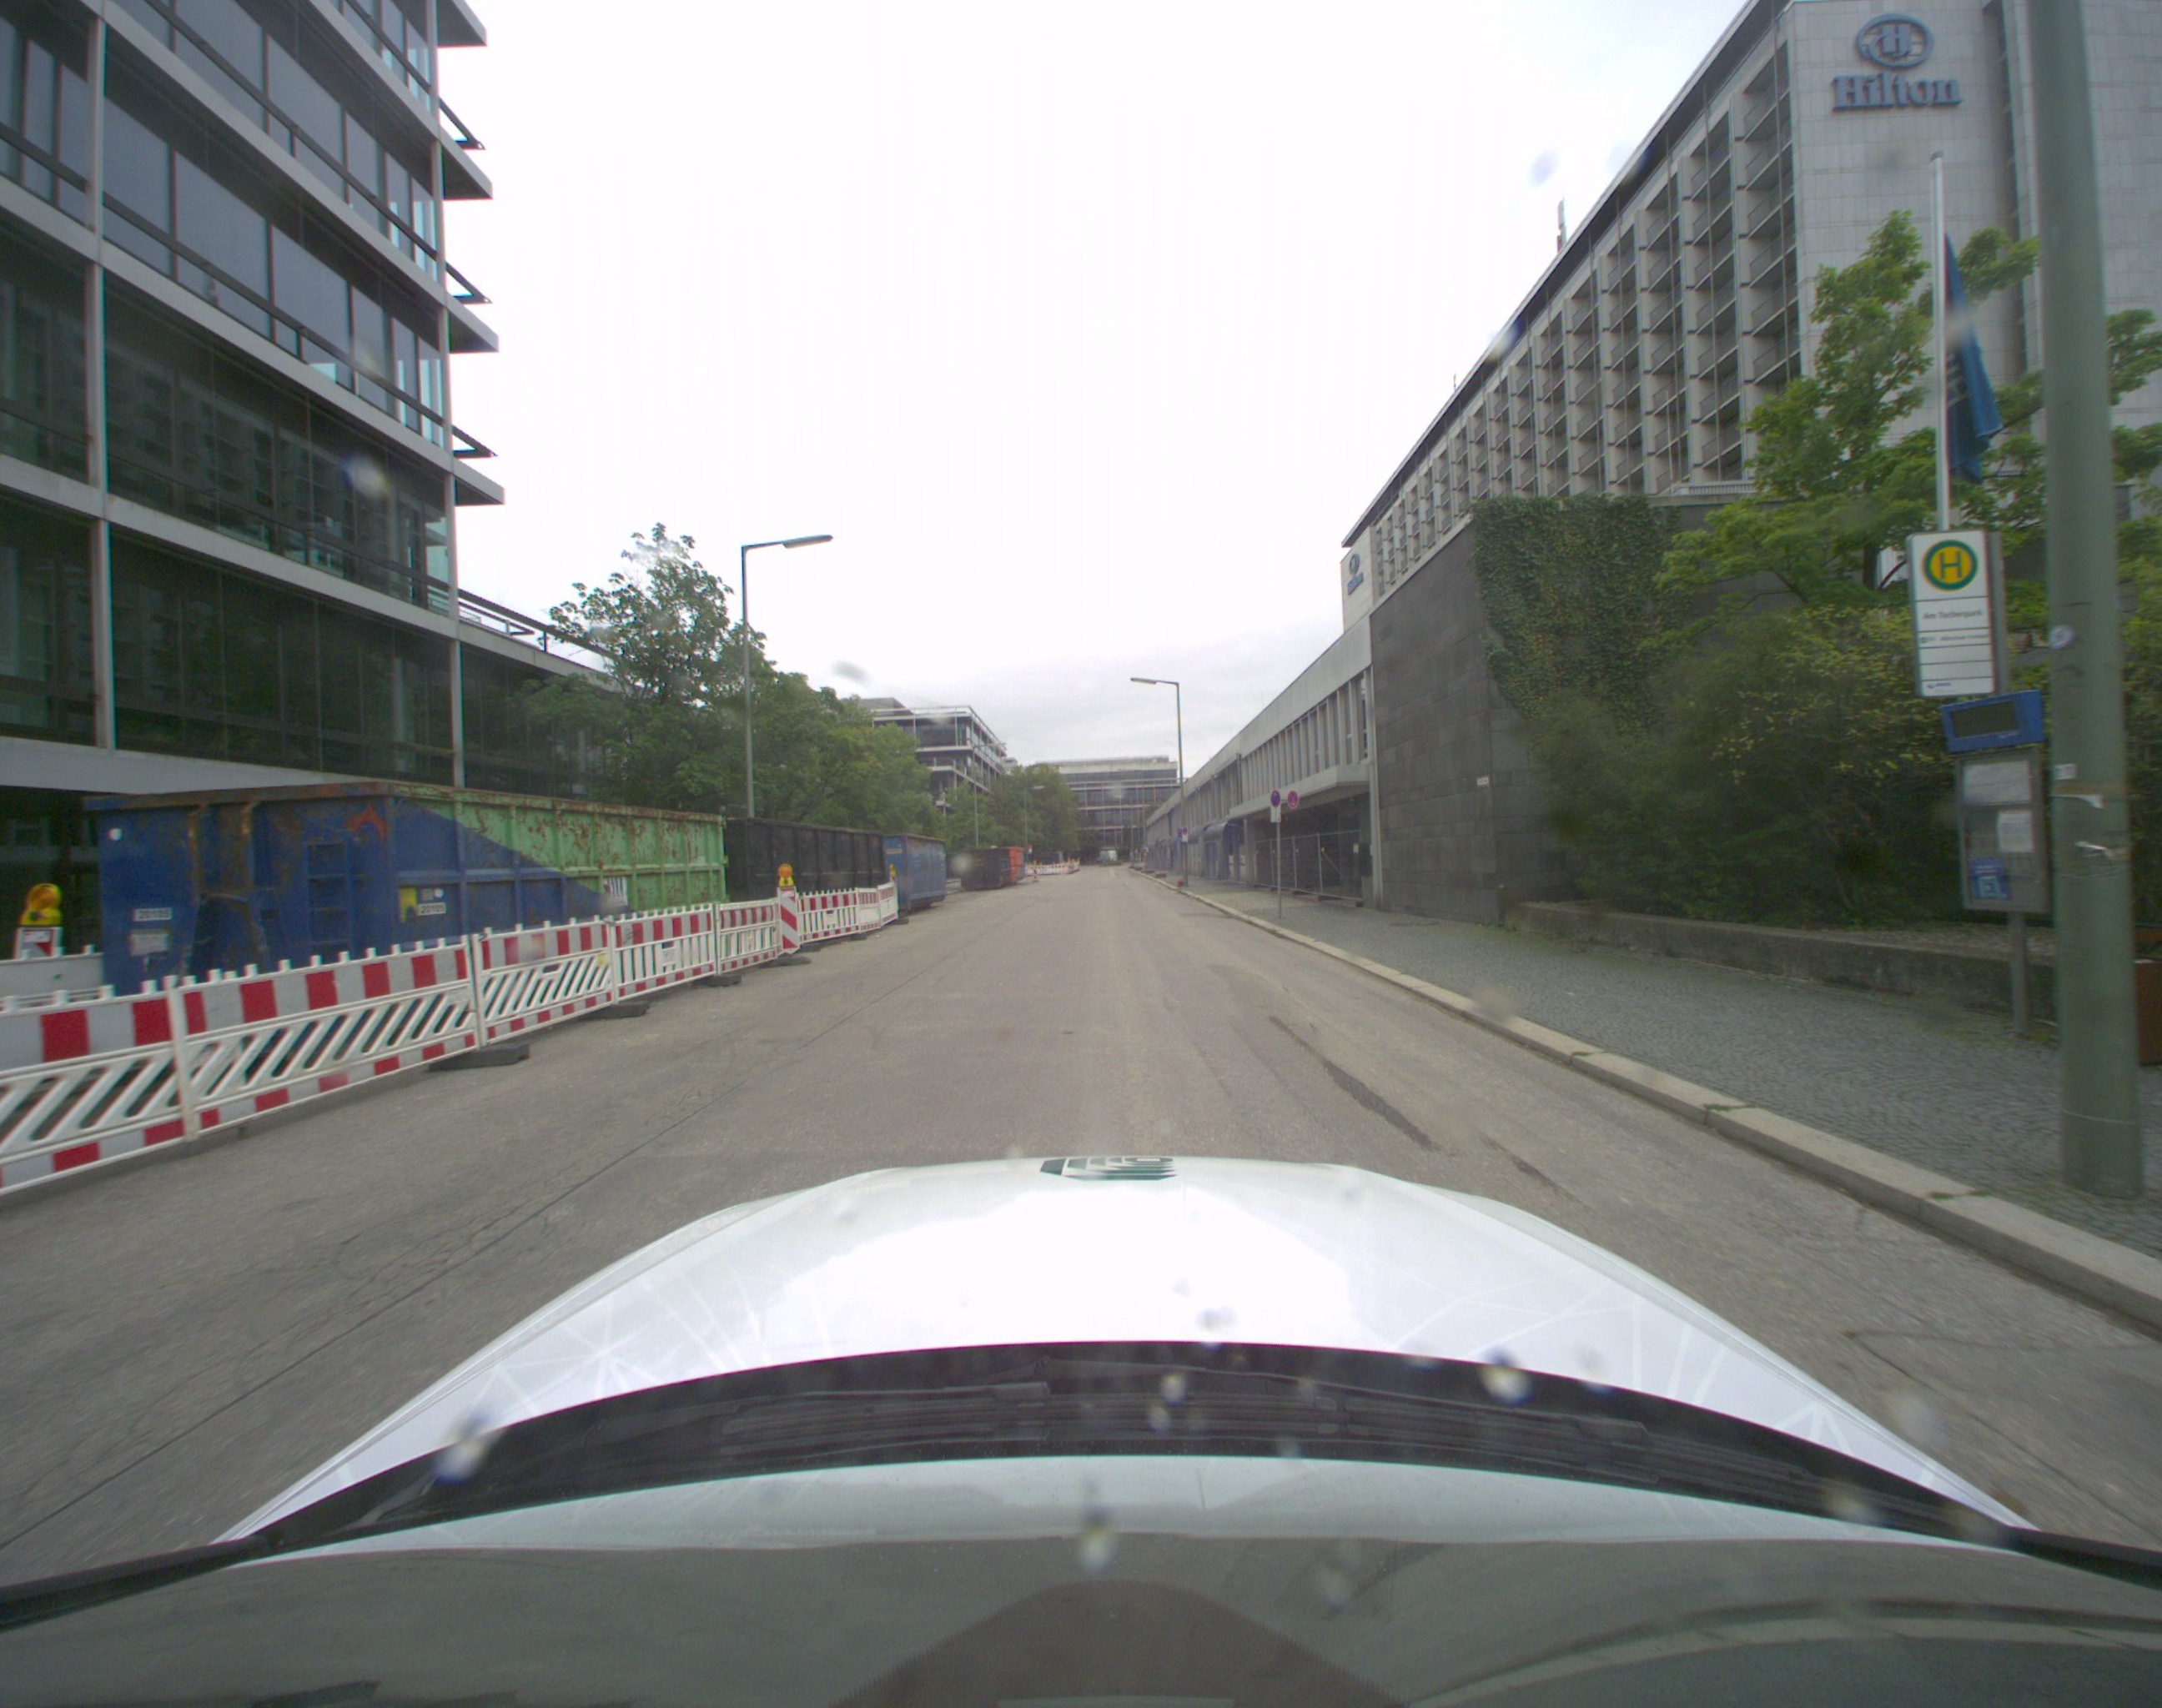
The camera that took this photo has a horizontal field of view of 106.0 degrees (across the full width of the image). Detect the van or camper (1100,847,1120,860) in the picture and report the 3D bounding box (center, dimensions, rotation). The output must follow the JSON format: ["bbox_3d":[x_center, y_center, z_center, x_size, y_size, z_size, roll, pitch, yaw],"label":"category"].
[{"bbox_3d":[5.884,-0.147,168.553,2.095,2.492,5.027,-2,0,-24],"label":"van or camper"}]

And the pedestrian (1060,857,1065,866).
[{"bbox_3d":[-3.781,1.556,167.412,0.743,1.677,0.678,-2,-1,-18],"label":"pedestrian"}]
